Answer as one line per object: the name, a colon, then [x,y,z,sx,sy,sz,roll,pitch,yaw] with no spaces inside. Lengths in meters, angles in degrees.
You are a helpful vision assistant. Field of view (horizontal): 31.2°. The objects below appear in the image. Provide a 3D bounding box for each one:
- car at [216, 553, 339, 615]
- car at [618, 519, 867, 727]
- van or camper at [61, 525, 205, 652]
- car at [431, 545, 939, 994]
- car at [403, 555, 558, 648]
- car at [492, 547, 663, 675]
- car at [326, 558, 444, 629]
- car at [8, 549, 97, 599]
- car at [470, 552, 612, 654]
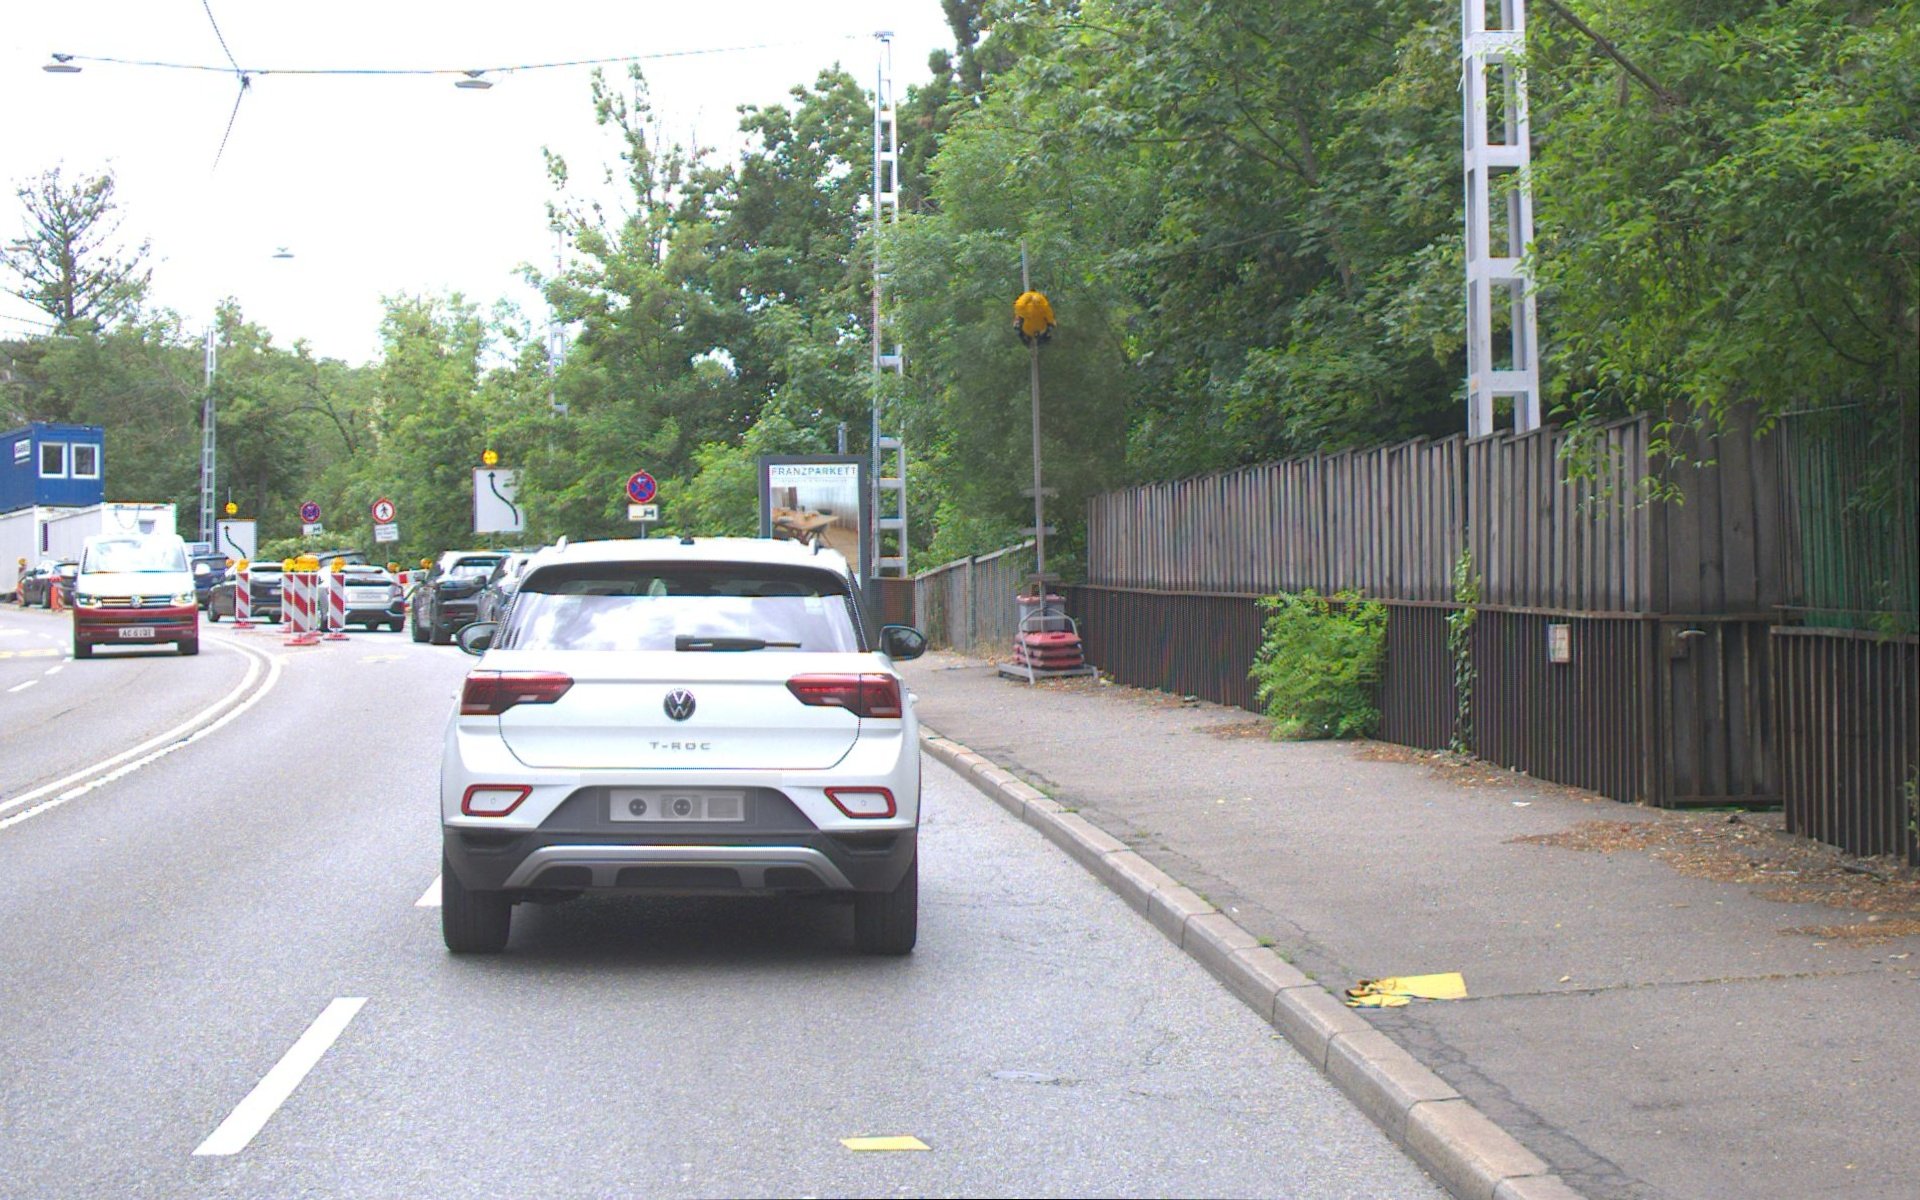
car: [-16.744,-0.376,84.197,1.993,1.445,4.151,-1,0,-25]
car: [-1.861,0.159,28.455,1.757,1.604,3.796,0,1,-8]
van or camper: [-13.085,-0.201,54.639,1.889,1.872,4.766,-2,1,-10]
car: [-1.113,0.565,13.833,1.757,1.550,3.796,0,1,-5]
car: [-8.582,-0.002,61.247,1.993,1.551,4.152,-1,1,-18]
car: [-4.659,0.104,41.459,1.757,1.466,3.796,0,1,-11]
car: [-12.464,-0.137,74.312,1.993,1.445,4.152,-1,0,-17]
car: [-27.005,-0.774,102.252,1.780,1.449,4.001,-1,1,-26]
car: [-6.334,0.043,51.654,1.993,1.409,4.151,-2,0,-8]
